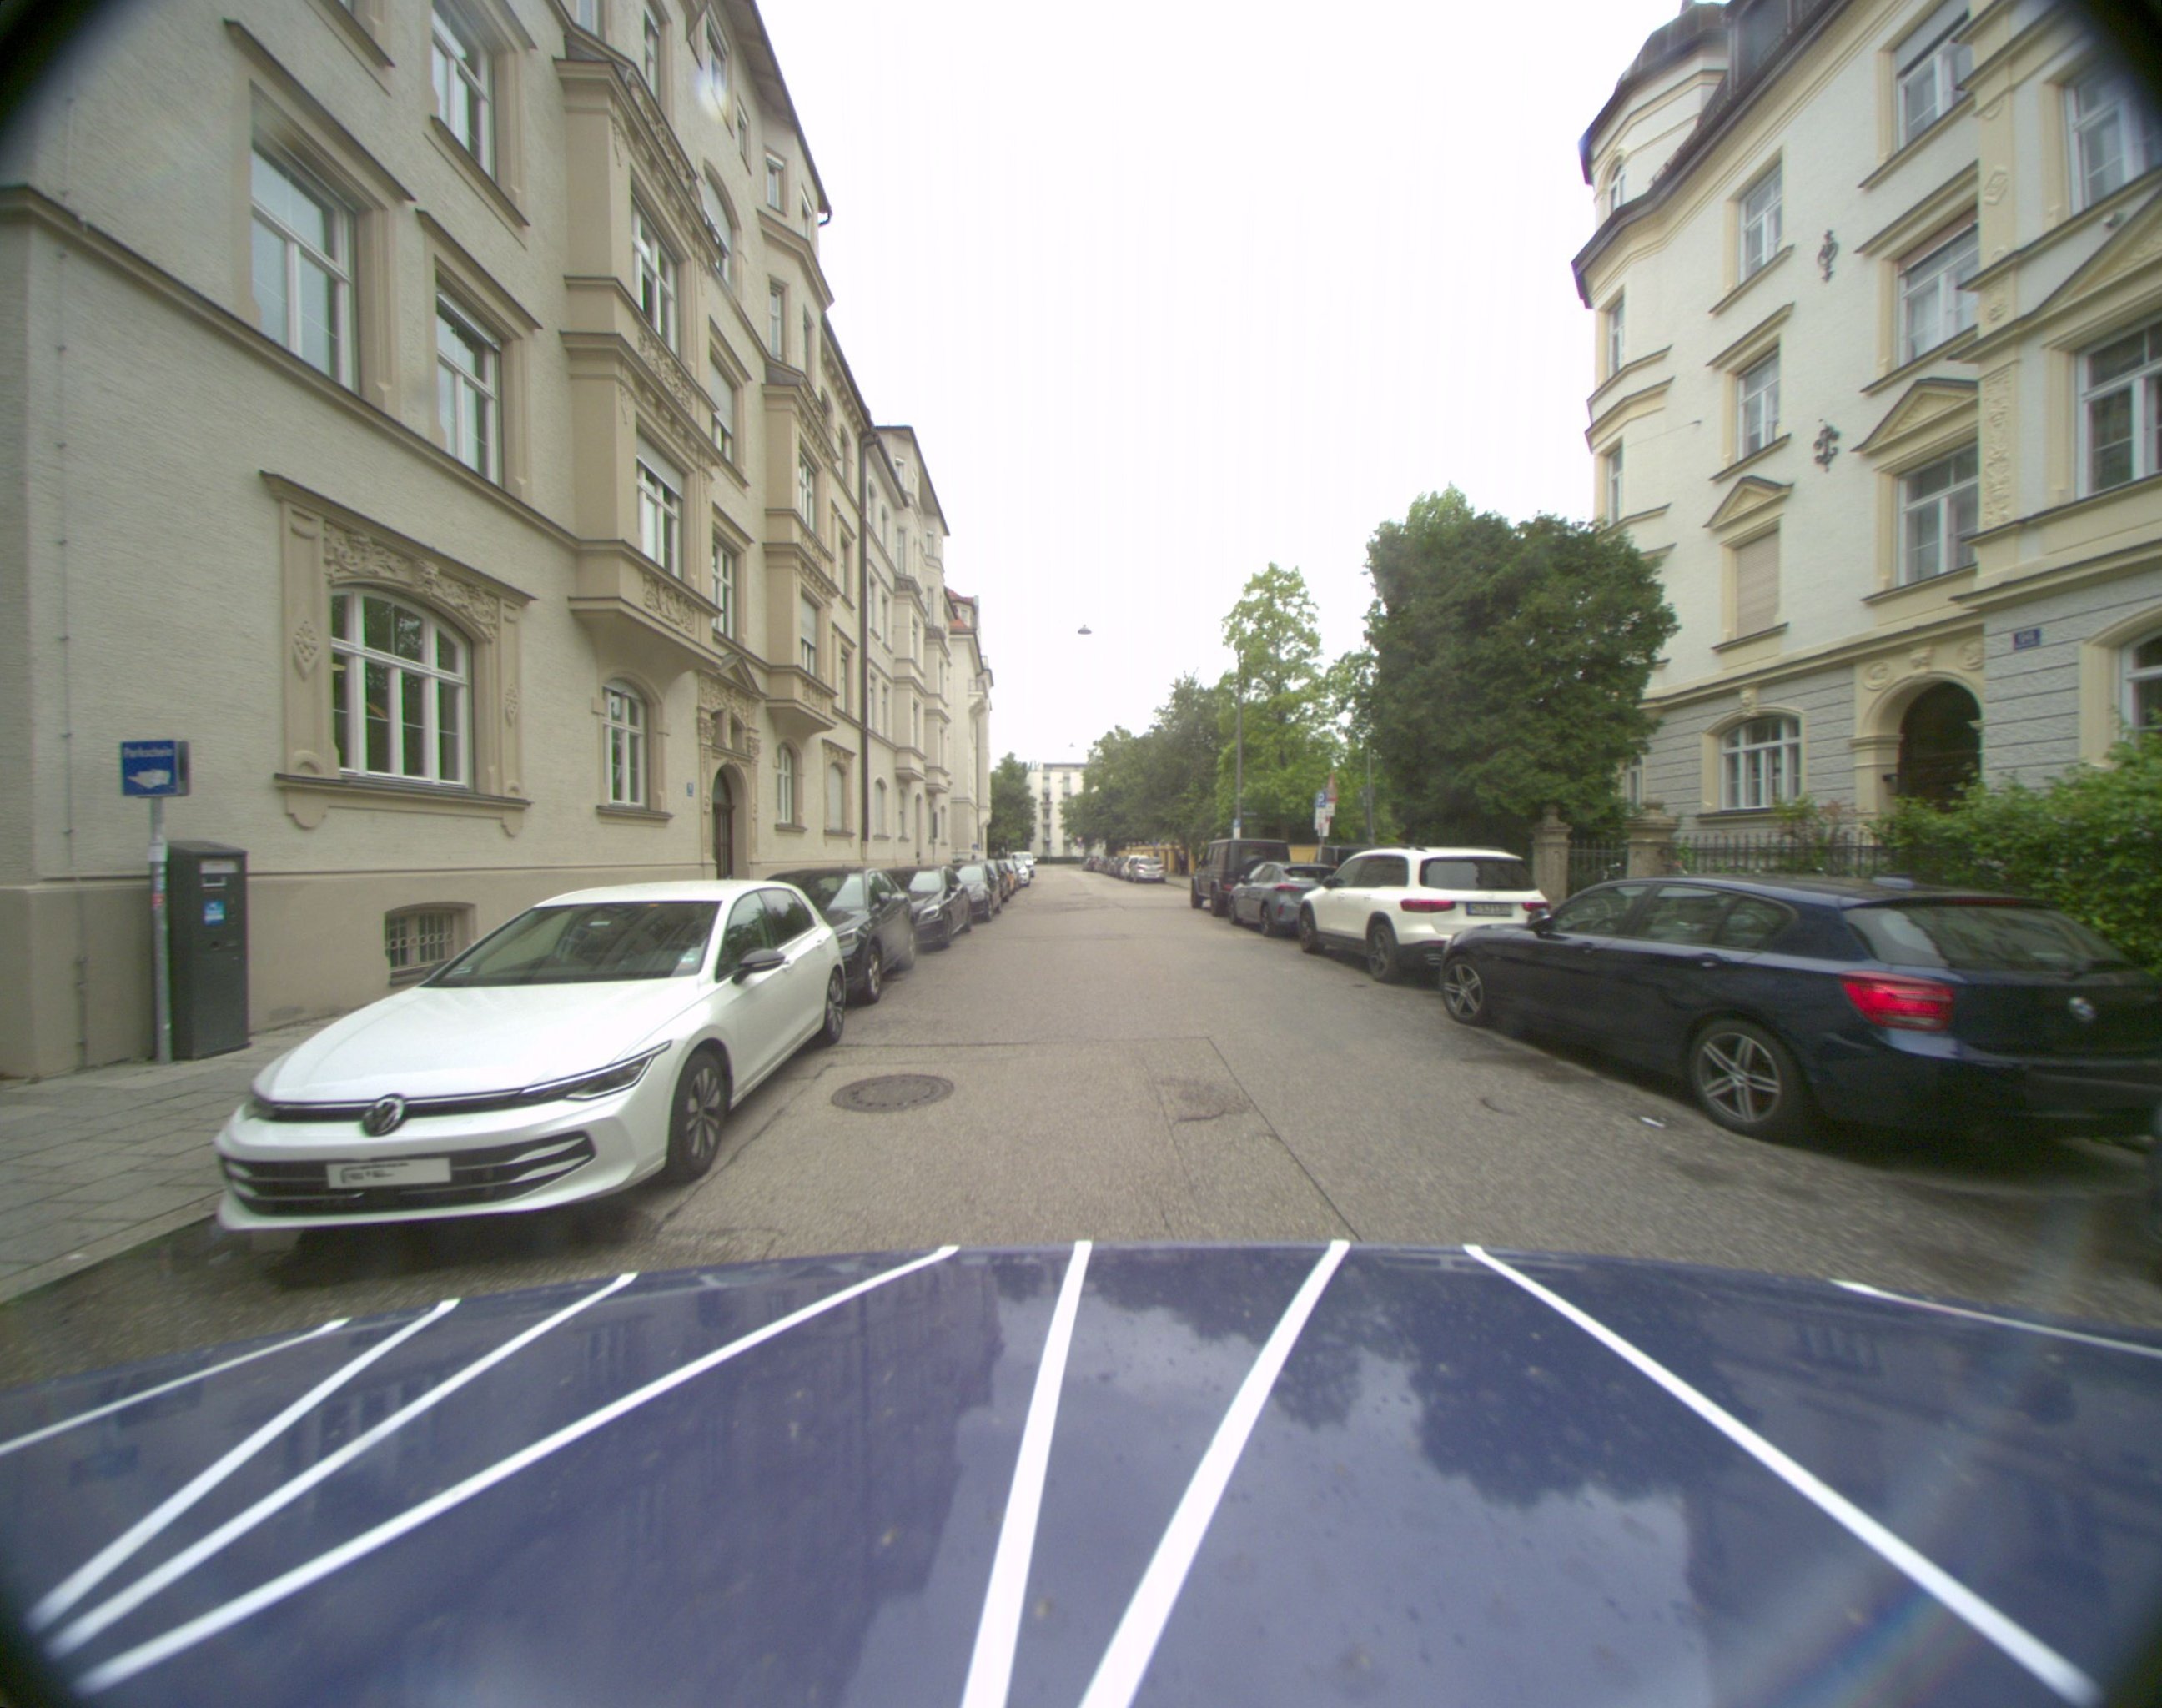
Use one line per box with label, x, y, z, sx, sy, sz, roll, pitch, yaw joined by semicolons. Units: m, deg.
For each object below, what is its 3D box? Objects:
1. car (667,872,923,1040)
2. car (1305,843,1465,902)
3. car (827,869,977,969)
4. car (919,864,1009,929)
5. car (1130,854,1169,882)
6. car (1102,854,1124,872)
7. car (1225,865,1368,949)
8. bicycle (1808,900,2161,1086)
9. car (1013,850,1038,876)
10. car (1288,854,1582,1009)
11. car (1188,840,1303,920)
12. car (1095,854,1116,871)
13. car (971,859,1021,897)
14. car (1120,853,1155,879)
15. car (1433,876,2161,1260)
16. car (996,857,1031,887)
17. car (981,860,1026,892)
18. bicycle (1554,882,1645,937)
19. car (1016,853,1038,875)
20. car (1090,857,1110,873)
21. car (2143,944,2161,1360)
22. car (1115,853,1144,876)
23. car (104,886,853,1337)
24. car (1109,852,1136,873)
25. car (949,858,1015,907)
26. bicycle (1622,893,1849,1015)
car;-3.187;1.029;9.396;1.797;1.489;4.081;-3;-1;-4
car;10.061;0.601;25.350;4.521;1.846;2.053;-1;0;-8
car;-3.088;1.062;13.952;1.746;1.390;4.022;-3;0;0
car;-2.871;0.996;19.413;1.646;1.409;4.000;-2;0;0
car;3.851;0.785;43.501;1.705;1.483;3.955;0;-1;-3
car;2.803;0.784;67.468;1.654;1.551;3.929;0;-1;-3
car;4.210;0.975;15.505;1.647;1.422;3.918;2;0;-2
bicycle;8.324;1.132;7.038;0.757;1.289;2.530;0;-1;0
car;-4.241;0.689;58.678;1.794;1.926;4.084;-2;0;-4
car;4.383;0.852;10.331;1.811;1.638;4.485;0;-1;-2
car;4.187;0.615;20.181;1.917;1.875;4.816;0;0;-1
car;2.337;0.815;72.536;1.654;1.551;3.929;0;-1;-3
car;-3.439;0.953;31.267;1.661;1.431;3.597;-1;0;0
car;3.553;0.752;48.407;1.705;1.551;3.929;-2;0;-3
car;4.291;0.937;5.153;1.773;1.412;3.998;-1;0;-3
car;-3.535;0.943;40.312;1.715;1.462;4.084;-2;0;-4
car;-3.612;1.008;35.922;1.715;1.382;4.000;-2;0;-1
bicycle;9.383;1.002;13.759;1.476;0.956;0.338;1;-1;-5
car;-4.698;0.827;66.006;1.794;1.776;4.084;-2;0;-4
car;1.904;1.065;76.743;1.654;1.552;3.929;0;0;-3
car;4.551;0.968;0.502;1.740;1.356;4.192;1;-1;-4
car;3.379;0.742;53.456;1.654;1.551;3.929;0;-1;-3
car;-2.806;1.015;4.825;1.667;1.498;4.064;-1;-1;-3
car;3.180;0.691;58.630;1.654;1.551;3.929;0;-1;-3
car;-3.291;0.922;25.954;1.747;1.507;3.958;-1;0;-1
bicycle;8.154;1.172;9.681;0.698;1.252;2.530;0;-1;0
